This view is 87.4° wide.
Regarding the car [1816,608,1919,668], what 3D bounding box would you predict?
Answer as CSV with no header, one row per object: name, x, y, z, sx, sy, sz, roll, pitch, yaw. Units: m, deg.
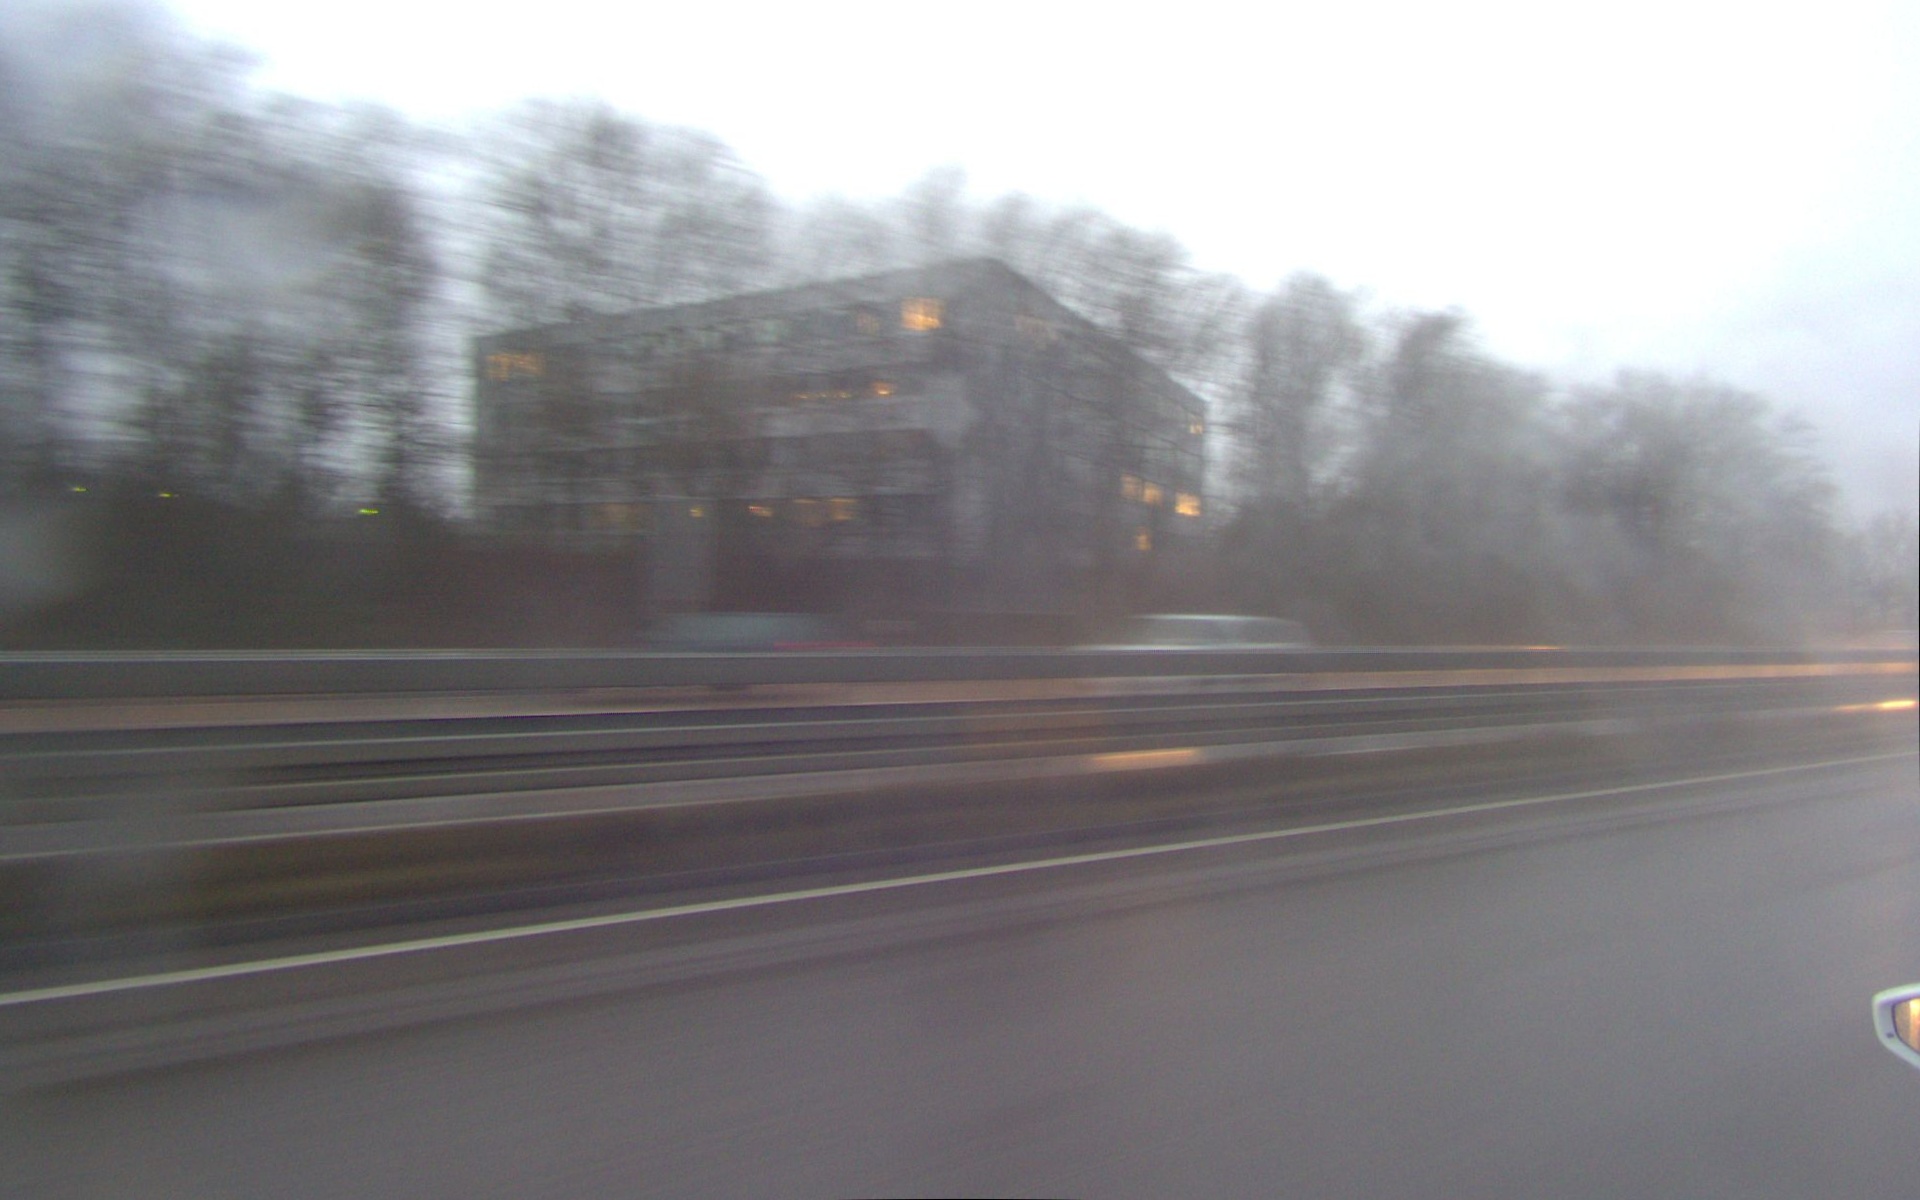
car,30.693,1.237,33.686,4.157,1.810,1.636,1,3,-30

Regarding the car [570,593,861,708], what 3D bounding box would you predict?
car,-4.118,0.783,17.045,4.419,1.702,1.984,1,1,-30

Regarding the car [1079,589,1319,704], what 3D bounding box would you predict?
car,4.228,0.768,17.695,3.892,1.777,1.744,1,3,-28
